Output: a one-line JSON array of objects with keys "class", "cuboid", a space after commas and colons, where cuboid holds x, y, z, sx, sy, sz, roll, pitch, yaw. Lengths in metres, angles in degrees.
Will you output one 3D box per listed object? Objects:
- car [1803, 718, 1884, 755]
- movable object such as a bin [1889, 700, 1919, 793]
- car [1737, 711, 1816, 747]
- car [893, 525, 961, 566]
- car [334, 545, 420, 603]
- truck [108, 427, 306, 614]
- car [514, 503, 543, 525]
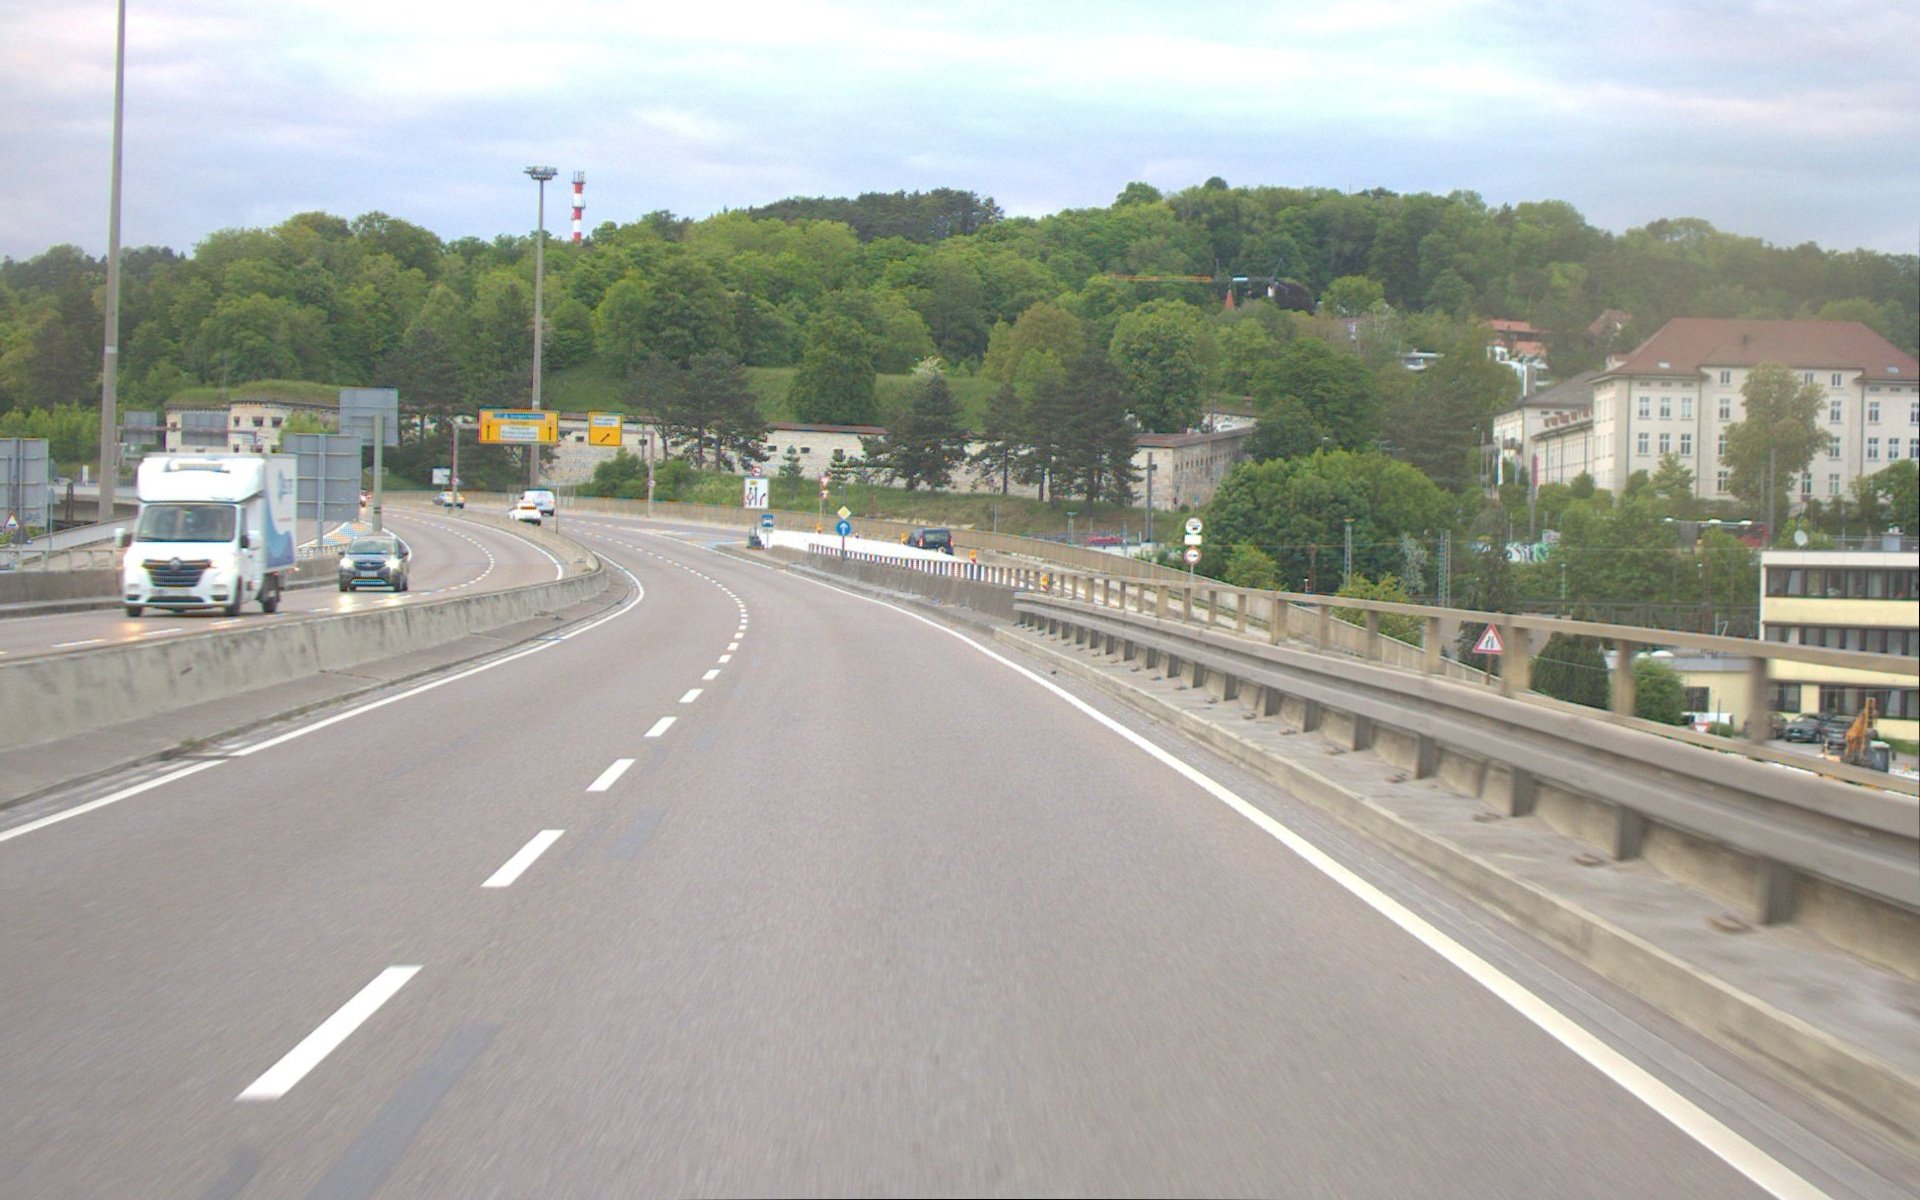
[{"class": "car", "cuboid": [45.775, 7.068, 178.111, 3.987, 1.560, 1.832, 5, 3, -37]}, {"class": "movable object such as a bin", "cuboid": [47.130, 7.215, 164.002, 2.774, 4.295, 4.959, 7, 0, -16]}, {"class": "car", "cuboid": [43.969, 6.957, 185.115, 3.987, 1.560, 1.832, 5, 3, -37]}, {"class": "car", "cuboid": [-1.595, -2.607, 163.669, 2.304, 1.757, 4.264, 2, 2, -13]}, {"class": "car", "cuboid": [-16.551, -0.748, 97.774, 1.976, 1.600, 4.442, 1, 1, -4]}, {"class": "truck", "cuboid": [-14.079, -1.464, 64.755, 2.534, 3.285, 7.447, 1, 1, -4]}, {"class": "car", "cuboid": [-29.294, -5.856, 233.275, 1.630, 1.383, 4.002, 0, 3, -12]}]
